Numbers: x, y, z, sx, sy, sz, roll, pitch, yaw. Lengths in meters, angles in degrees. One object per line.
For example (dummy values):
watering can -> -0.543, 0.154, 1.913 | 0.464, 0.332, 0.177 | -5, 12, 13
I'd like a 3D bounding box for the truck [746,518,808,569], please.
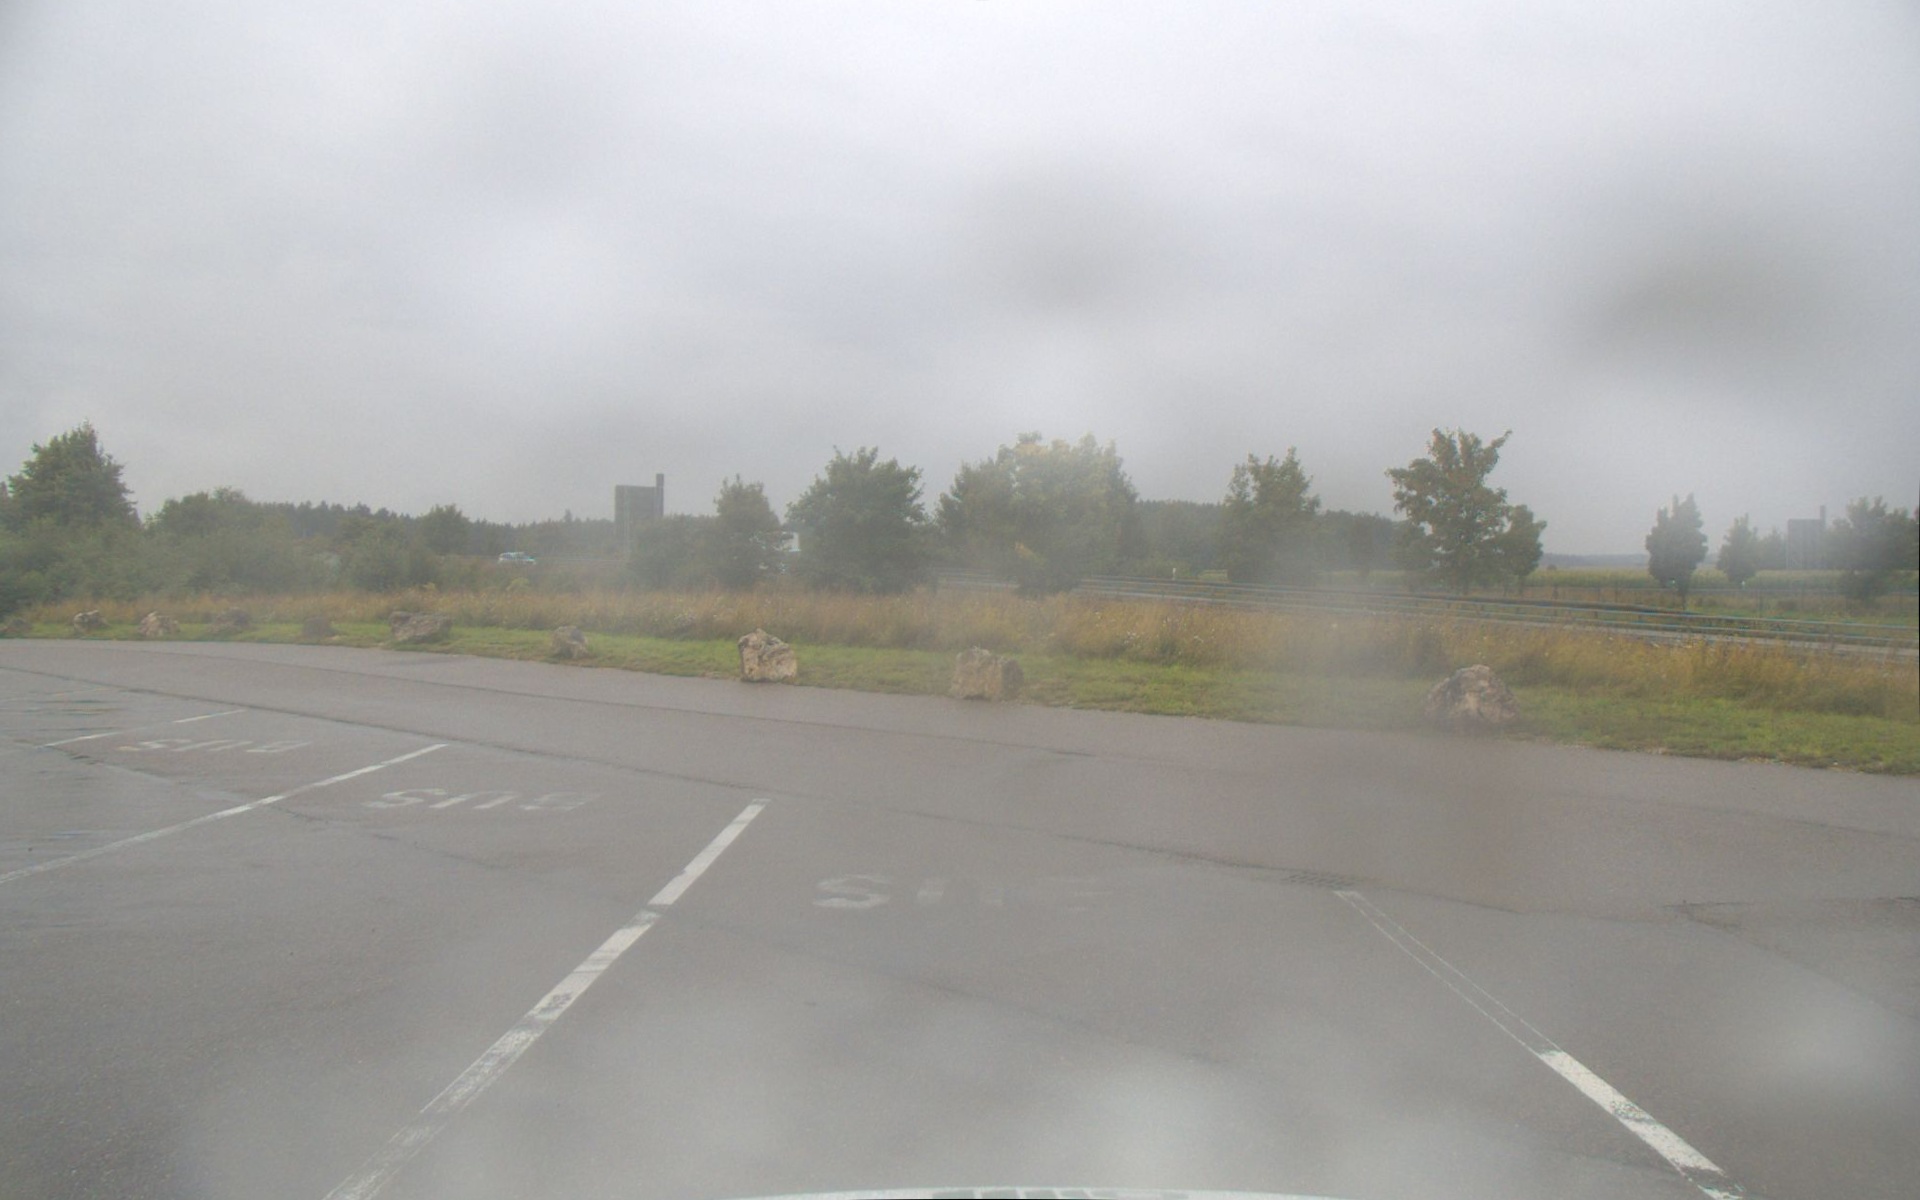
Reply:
truck -> -13.120, -3.945, 118.071 | 2.698, 3.450, 8.023 | 1, 1, -19
